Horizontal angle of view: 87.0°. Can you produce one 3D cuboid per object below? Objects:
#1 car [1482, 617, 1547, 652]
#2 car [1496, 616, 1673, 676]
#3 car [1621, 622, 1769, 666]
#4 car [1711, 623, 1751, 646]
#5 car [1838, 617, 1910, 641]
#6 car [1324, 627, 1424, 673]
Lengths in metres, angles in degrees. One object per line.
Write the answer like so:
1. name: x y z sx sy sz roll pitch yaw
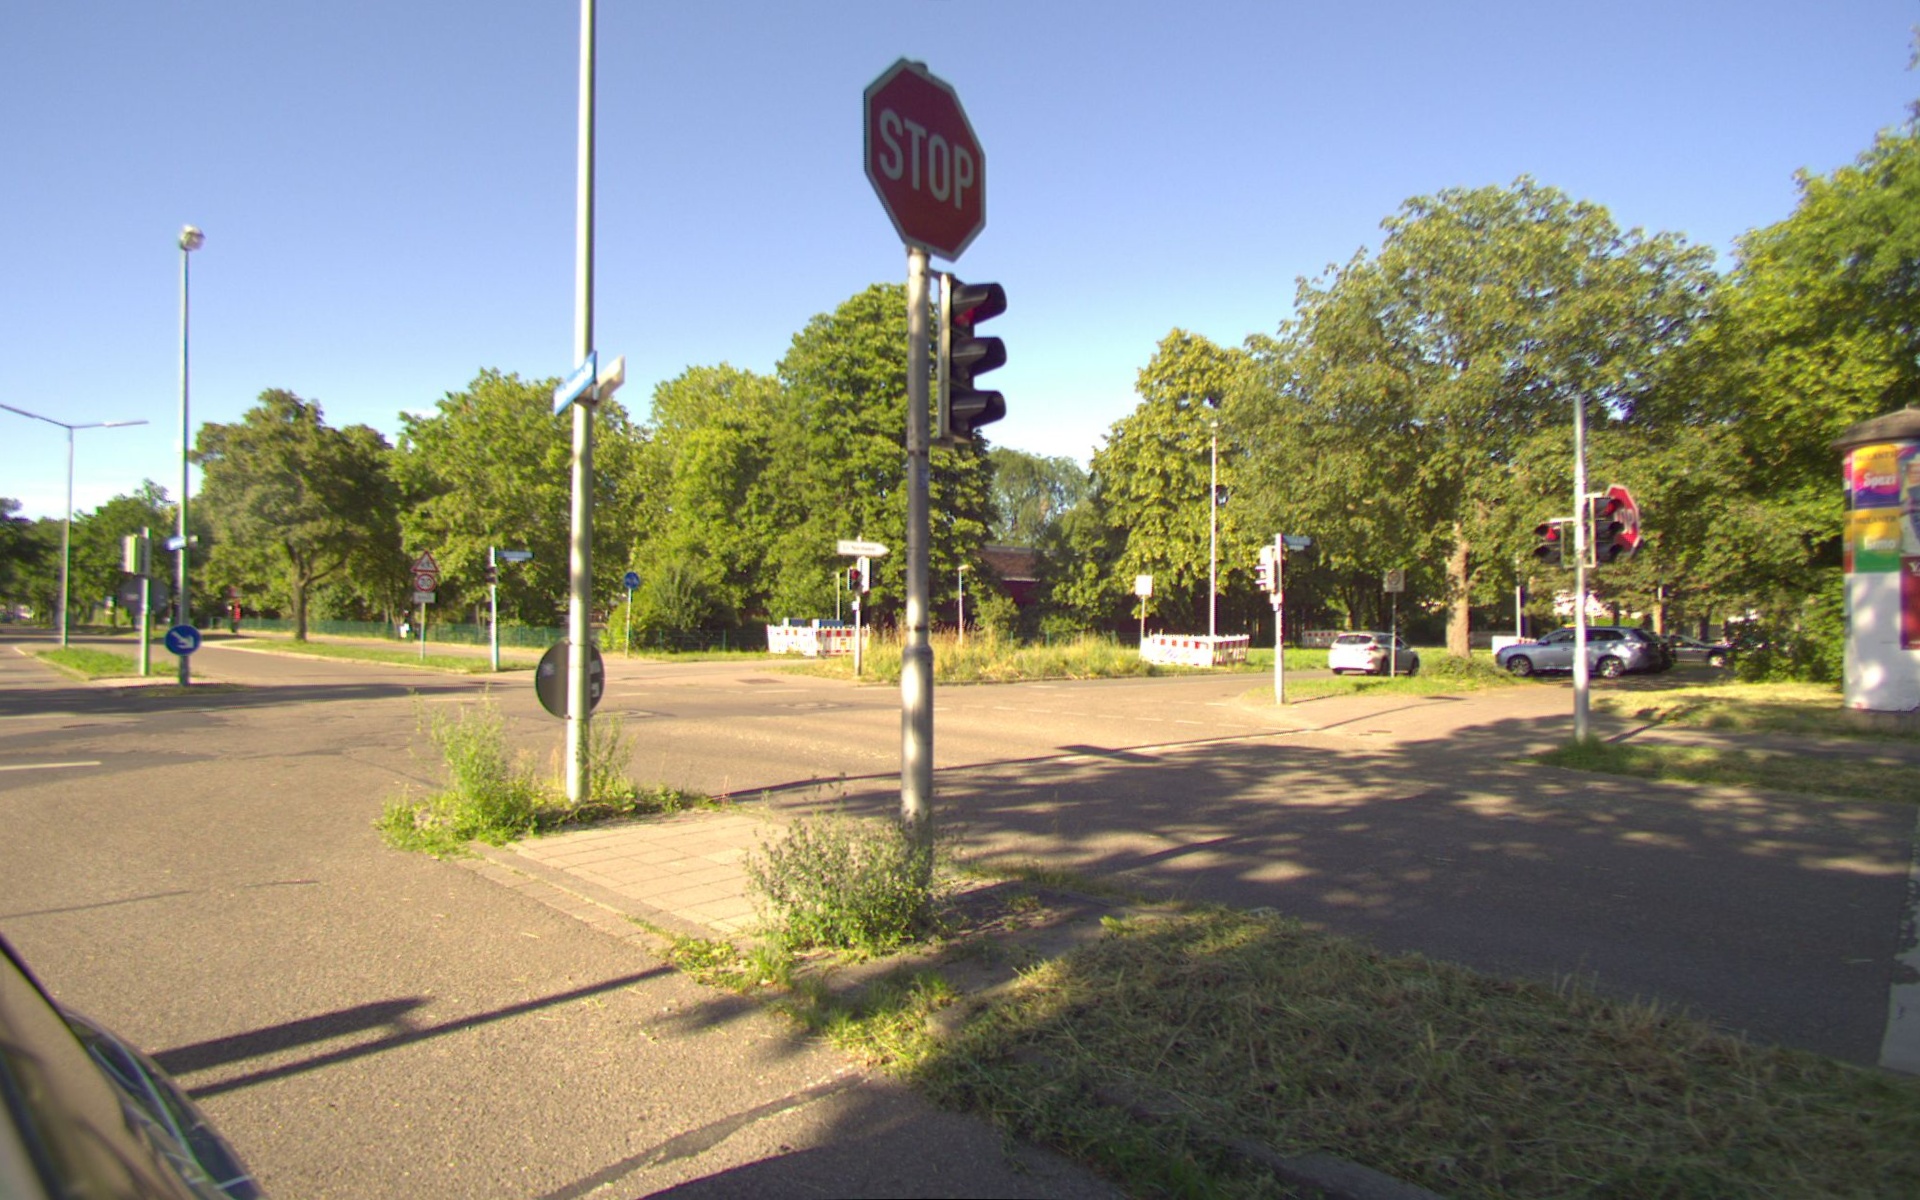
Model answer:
1. car: 30.932 1.929 56.395 3.938 1.829 2.003 2 -1 -42
2. car: 20.103 1.432 32.750 1.825 1.796 4.522 2 -2 -39
3. car: 29.674 1.746 40.984 1.825 1.642 4.522 2 -2 -39
4. car: 66.800 2.997 87.643 3.938 1.829 2.003 2 -1 -42
5. car: 77.505 2.441 85.841 1.834 1.922 4.322 2 -1 -41
6. car: 14.455 1.696 35.209 3.903 1.474 1.797 1 -1 -44
